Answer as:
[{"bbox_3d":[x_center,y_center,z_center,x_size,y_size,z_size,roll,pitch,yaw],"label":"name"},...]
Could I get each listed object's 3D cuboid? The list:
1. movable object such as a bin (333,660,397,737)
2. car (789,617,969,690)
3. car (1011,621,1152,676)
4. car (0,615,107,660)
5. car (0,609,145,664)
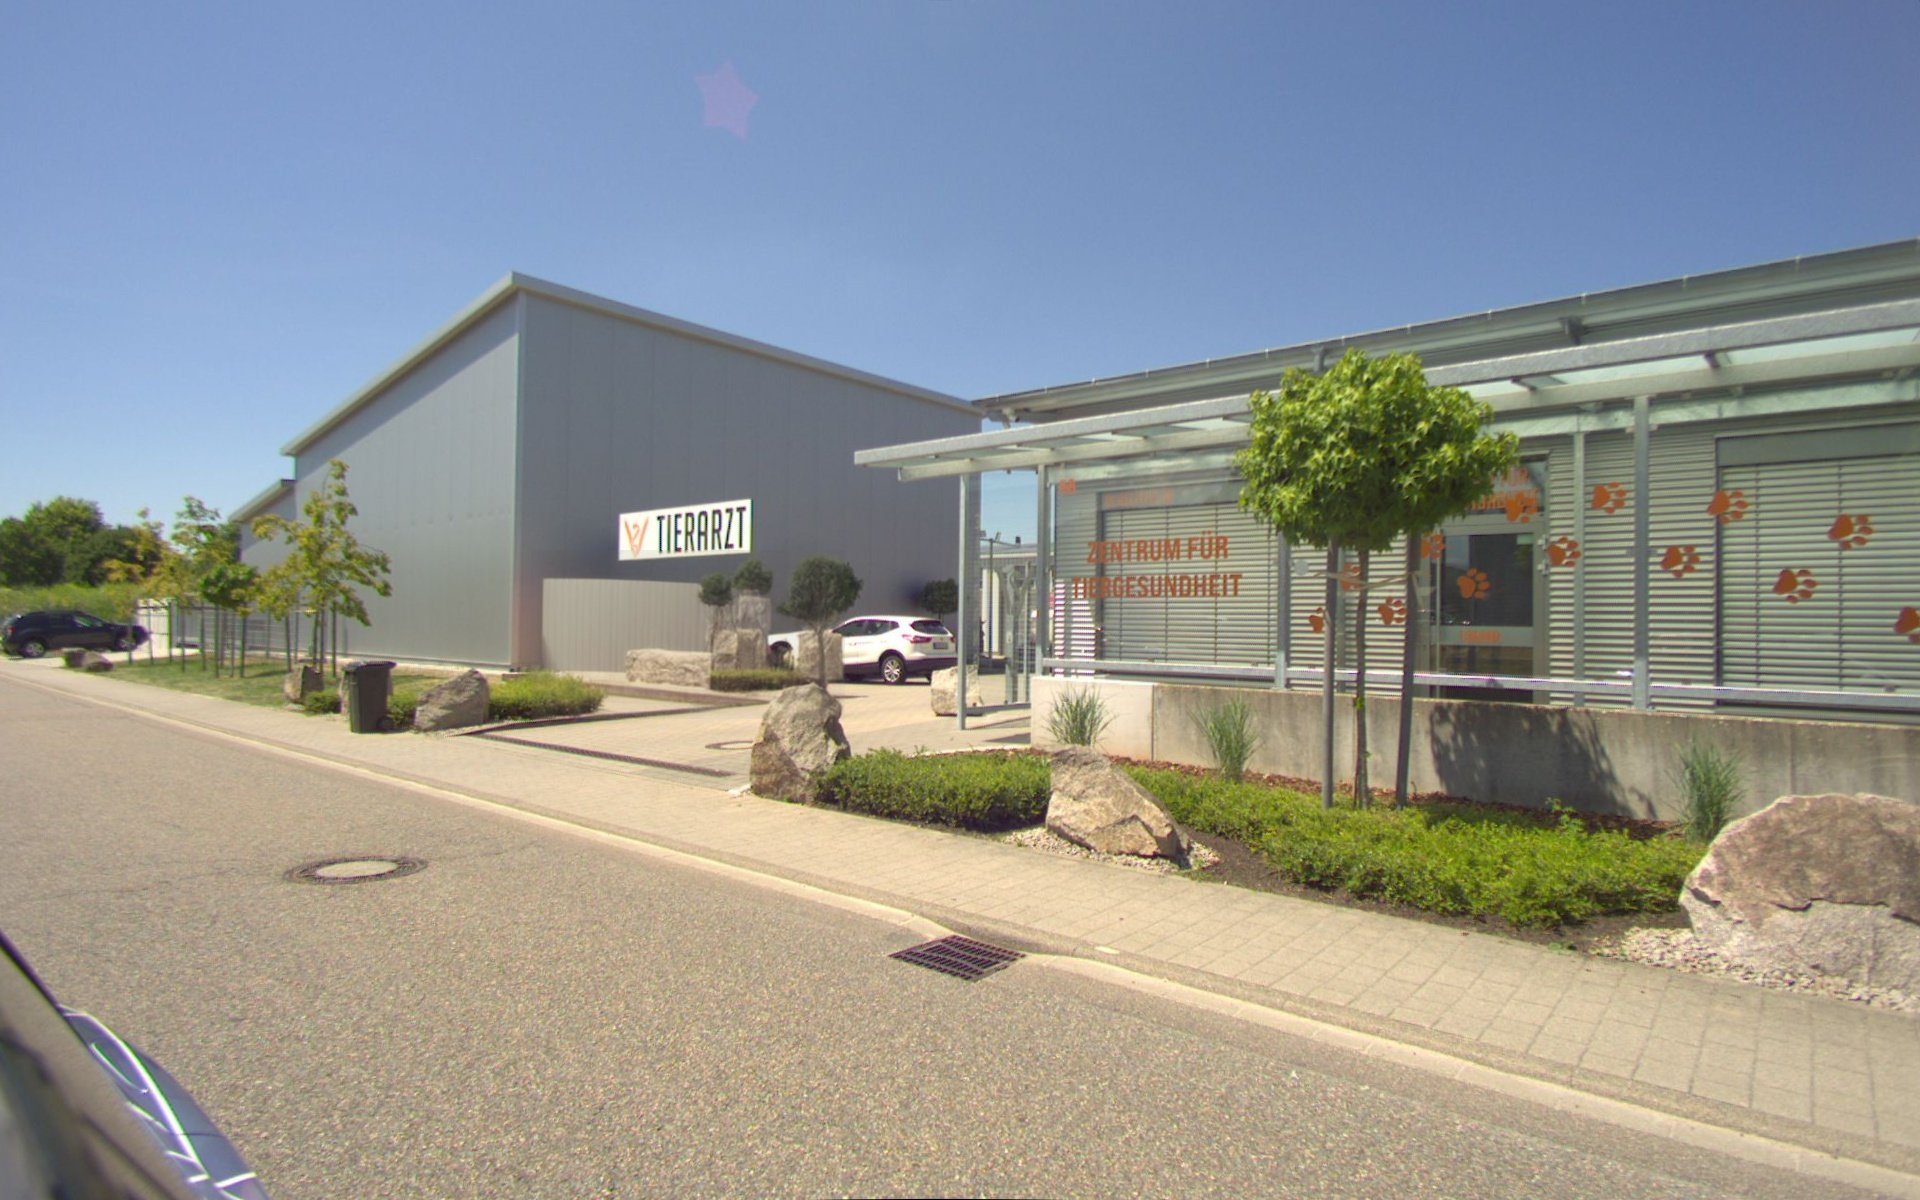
[{"bbox_3d":[-7.902,1.296,13.438,0.511,0.957,0.565,-1,-2,35],"label":"movable object such as a bin"},{"bbox_3d":[-1.964,1.219,23.998,3.990,1.596,1.890,-1,-2,35],"label":"car"},{"bbox_3d":[3.835,1.498,32.087,3.990,1.660,1.976,-1,-2,35],"label":"car"},{"bbox_3d":[-35.432,1.433,39.204,1.779,1.472,3.329,-1,3,38],"label":"car"},{"bbox_3d":[-33.039,1.315,37.469,1.780,1.671,4.121,0,3,40],"label":"car"}]
